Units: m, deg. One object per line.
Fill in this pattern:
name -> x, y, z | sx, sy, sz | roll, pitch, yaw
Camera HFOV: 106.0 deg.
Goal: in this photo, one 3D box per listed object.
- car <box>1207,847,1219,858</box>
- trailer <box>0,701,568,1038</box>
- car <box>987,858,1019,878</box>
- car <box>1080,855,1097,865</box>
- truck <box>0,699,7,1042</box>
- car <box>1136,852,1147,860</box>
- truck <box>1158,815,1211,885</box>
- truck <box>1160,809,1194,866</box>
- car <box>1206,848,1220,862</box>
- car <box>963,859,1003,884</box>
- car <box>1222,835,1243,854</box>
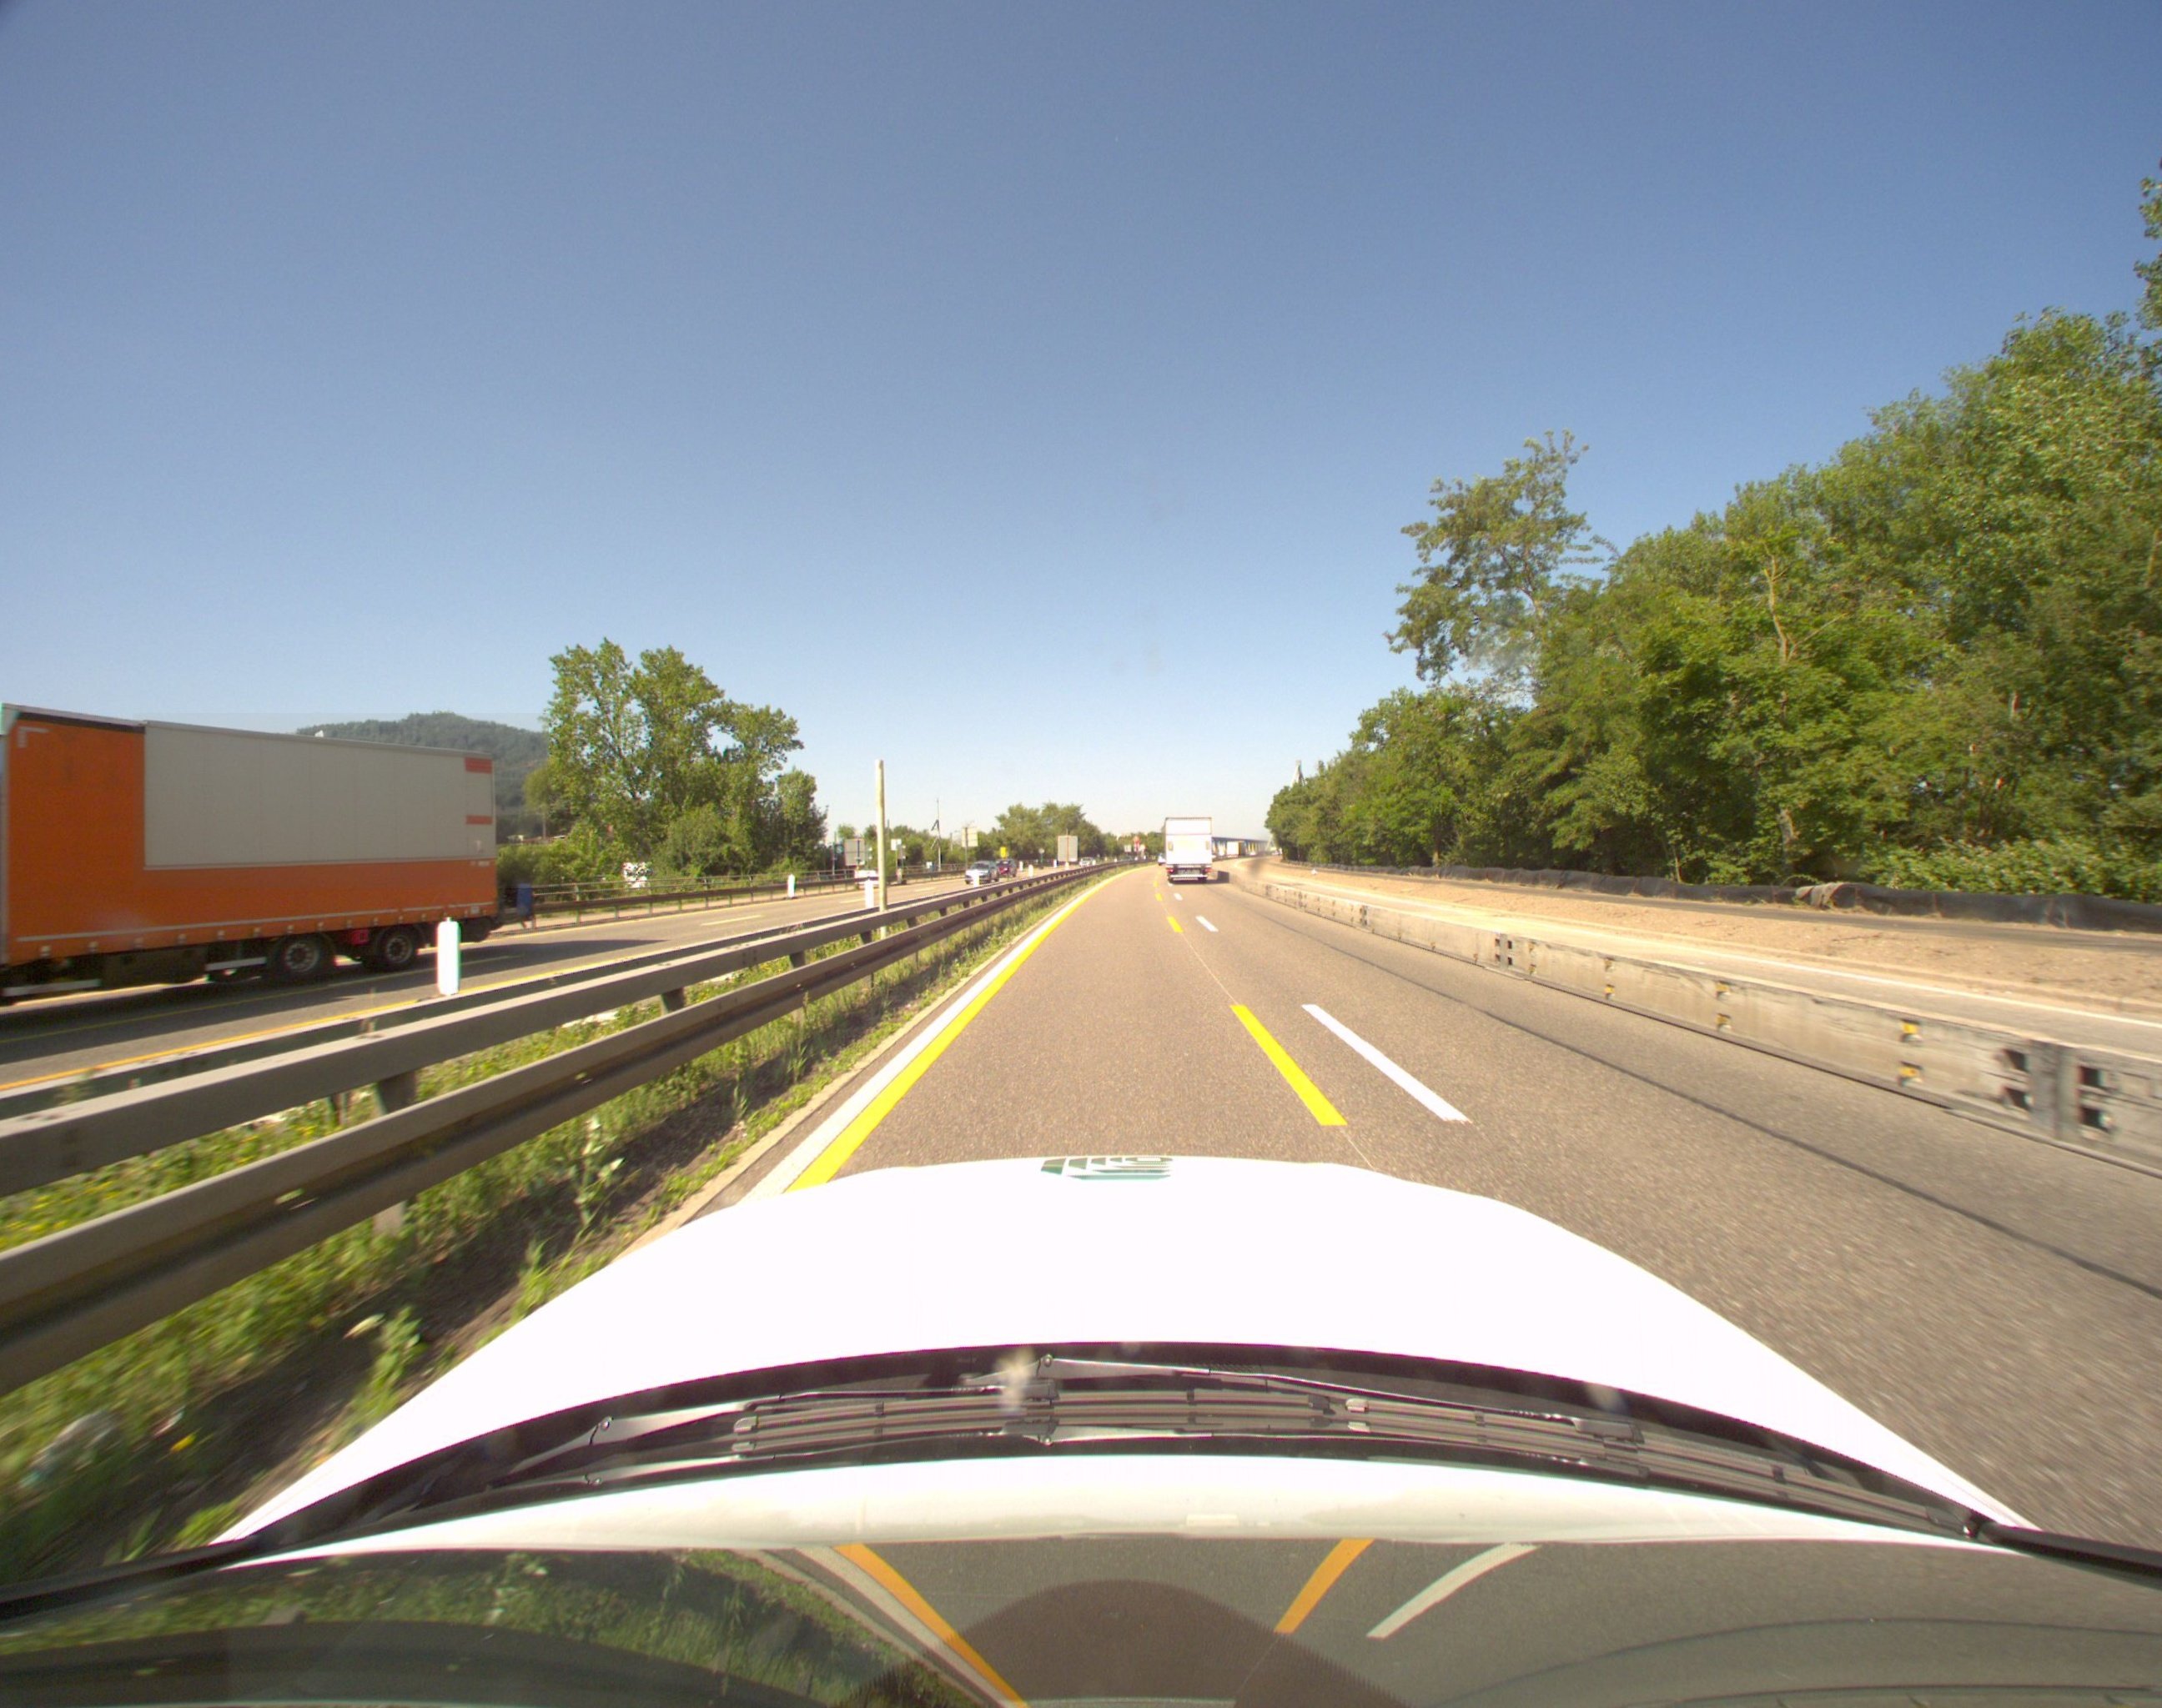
car -> 25.633, -0.362, 158.341 | 1.980, 2.013, 4.015 | -3, 0, 13
trailer -> -14.228, 0.174, 14.848 | 3.025, 4.091, 9.797 | -1, 0, 3
car -> -7.349, 1.314, 77.065 | 1.899, 1.734, 5.029 | -3, 0, 6
car -> 1.253, 0.972, 131.769 | 1.872, 1.420, 4.875 | -2, 0, 11
truck -> -14.719, 0.254, 4.512 | 3.025, 4.091, 10.634 | -1, 0, 3
car -> 11.169, 0.375, 149.279 | 1.728, 1.498, 4.008 | -2, 0, 7
truck -> 5.663, -0.214, 44.039 | 2.619, 3.427, 7.250 | 0, 0, 8
truck -> 7.885, -1.291, 66.745 | 2.620, 4.468, 7.247 | 0, 0, 7
car -> 21.764, 0.153, 134.375 | 1.982, 2.013, 4.010 | -3, 0, 8
car -> -7.259, 1.257, 60.877 | 1.899, 1.651, 4.384 | -3, 0, 6
car -> 36.869, -2.295, 197.613 | 4.177, 4.251, 10.702 | -3, 0, 14
